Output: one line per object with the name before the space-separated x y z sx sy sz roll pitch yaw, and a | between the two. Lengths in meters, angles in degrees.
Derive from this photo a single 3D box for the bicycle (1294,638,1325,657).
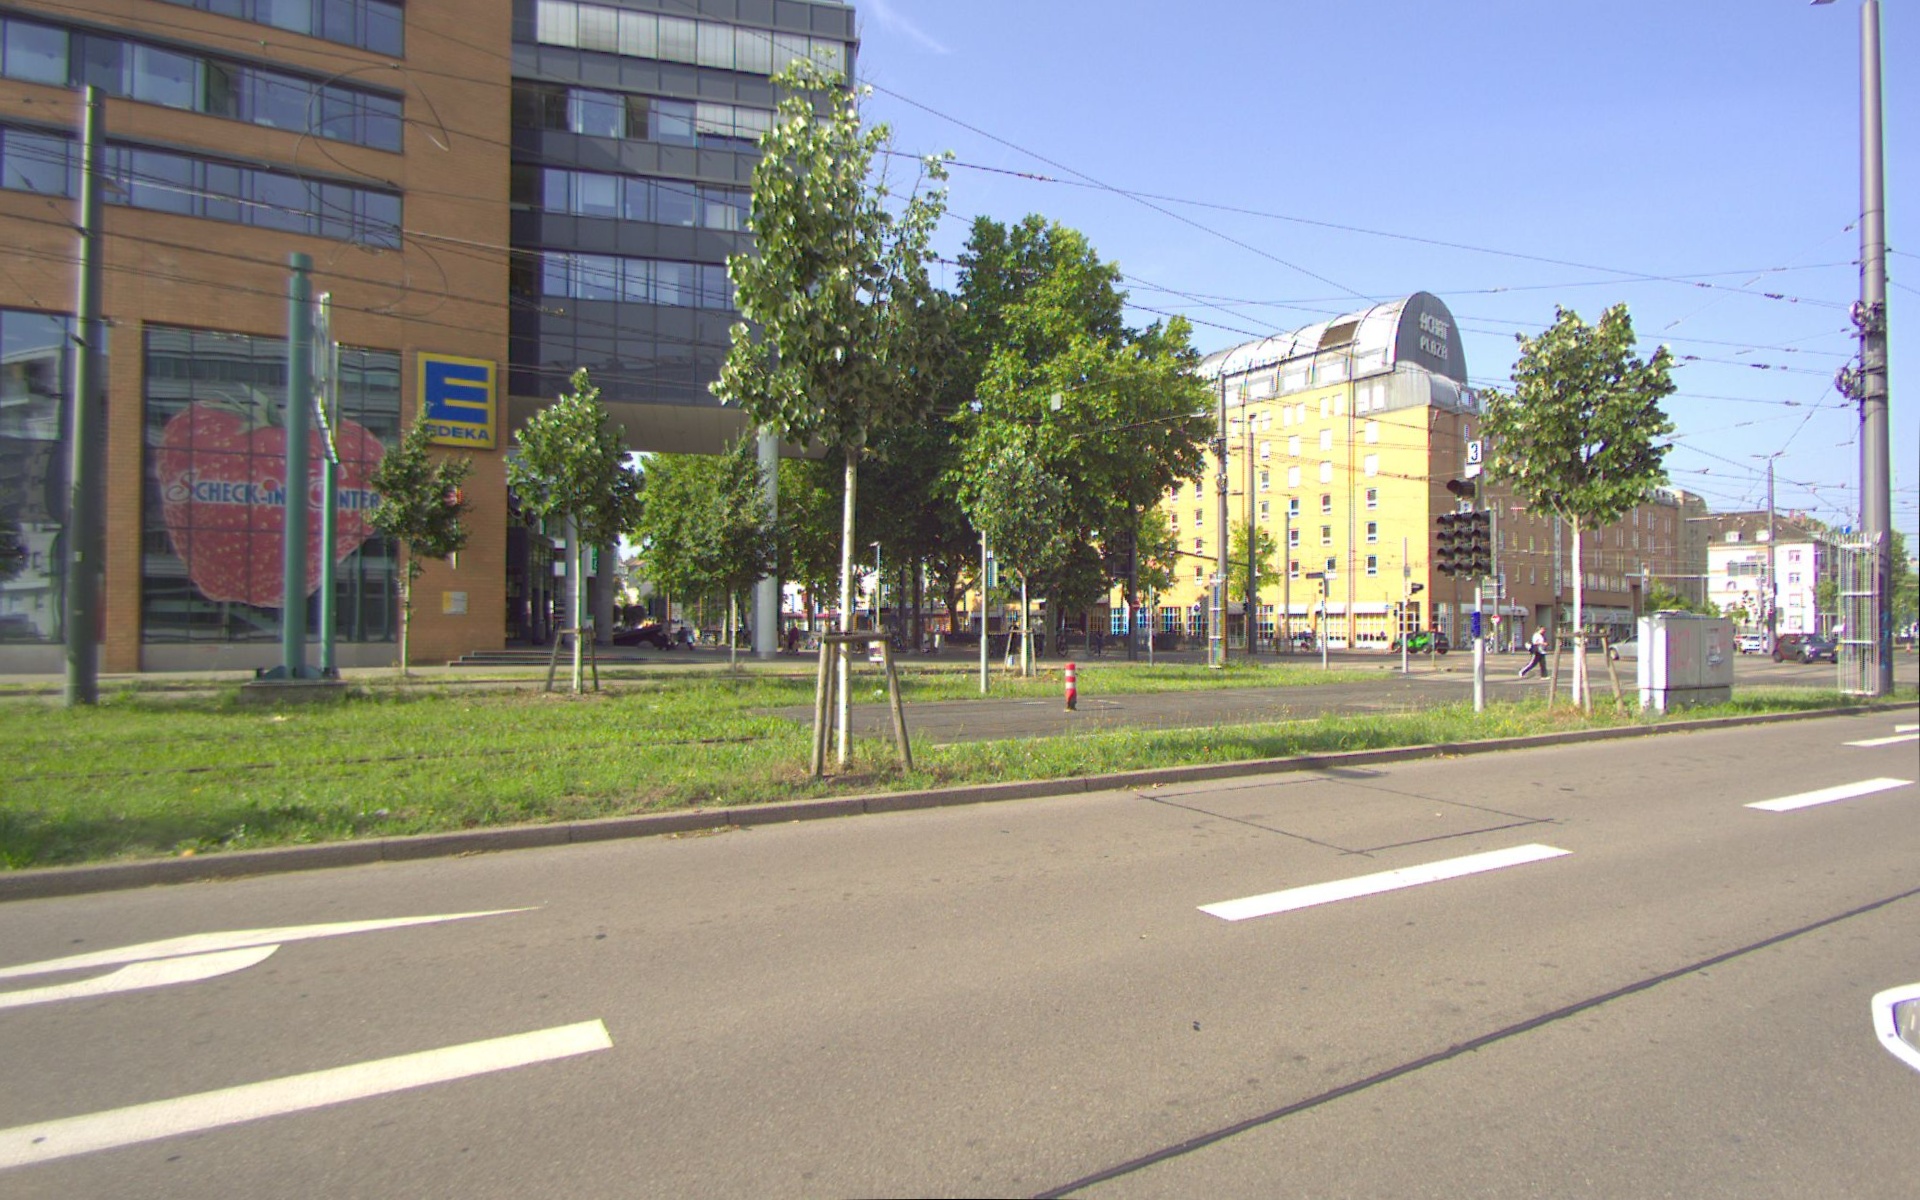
bicycle | 24.246 3.297 69.722 2.256 1.222 0.547 3 -2 -25

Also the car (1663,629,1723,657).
car | 45.992 2.725 63.121 1.953 1.657 4.414 0 -2 21

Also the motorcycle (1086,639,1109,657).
motorcycle | 8.279 2.884 60.659 0.281 1.008 1.677 3 -3 -37

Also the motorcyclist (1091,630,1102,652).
motorcyclist | 8.265 2.465 60.698 0.414 1.339 0.527 3 -3 -38

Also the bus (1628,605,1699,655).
bus | 60.745 2.673 86.595 12.135 3.972 2.720 4 -3 -44

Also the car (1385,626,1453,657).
car | 31.752 2.875 69.567 1.974 2.040 3.973 3 -3 -27

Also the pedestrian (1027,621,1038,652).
pedestrian | 4.760 2.391 65.862 0.534 2.040 0.485 3 -3 -38

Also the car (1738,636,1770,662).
car | 63.859 3.961 80.790 2.710 2.040 1.587 4 -3 -42

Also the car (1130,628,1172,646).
car | 17.895 3.434 94.267 1.848 1.645 3.590 1 -2 -34

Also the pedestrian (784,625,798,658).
pedestrian | -8.082 1.963 48.096 0.651 1.563 0.617 0 -1 -12

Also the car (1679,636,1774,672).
car | 40.070 2.815 52.593 1.679 1.778 3.885 1 -2 -8

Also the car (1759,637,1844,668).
car | 42.656 2.645 51.015 1.668 1.512 3.606 0 -2 9

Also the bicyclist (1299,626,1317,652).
bicyclist | 24.141 2.738 69.703 0.954 1.769 0.663 2 -2 -24

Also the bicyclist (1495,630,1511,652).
bicyclist | 43.138 3.288 79.733 0.976 1.717 0.666 -1 -3 45

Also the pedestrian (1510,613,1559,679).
pedestrian | 18.191 1.443 31.820 0.769 2.040 1.147 3 -3 -36

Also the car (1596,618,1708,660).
car | 35.765 1.989 52.076 1.966 2.040 4.603 1 -2 -14

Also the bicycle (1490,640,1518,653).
bicycle | 43.160 3.655 79.691 1.940 0.982 0.417 -1 -3 45
